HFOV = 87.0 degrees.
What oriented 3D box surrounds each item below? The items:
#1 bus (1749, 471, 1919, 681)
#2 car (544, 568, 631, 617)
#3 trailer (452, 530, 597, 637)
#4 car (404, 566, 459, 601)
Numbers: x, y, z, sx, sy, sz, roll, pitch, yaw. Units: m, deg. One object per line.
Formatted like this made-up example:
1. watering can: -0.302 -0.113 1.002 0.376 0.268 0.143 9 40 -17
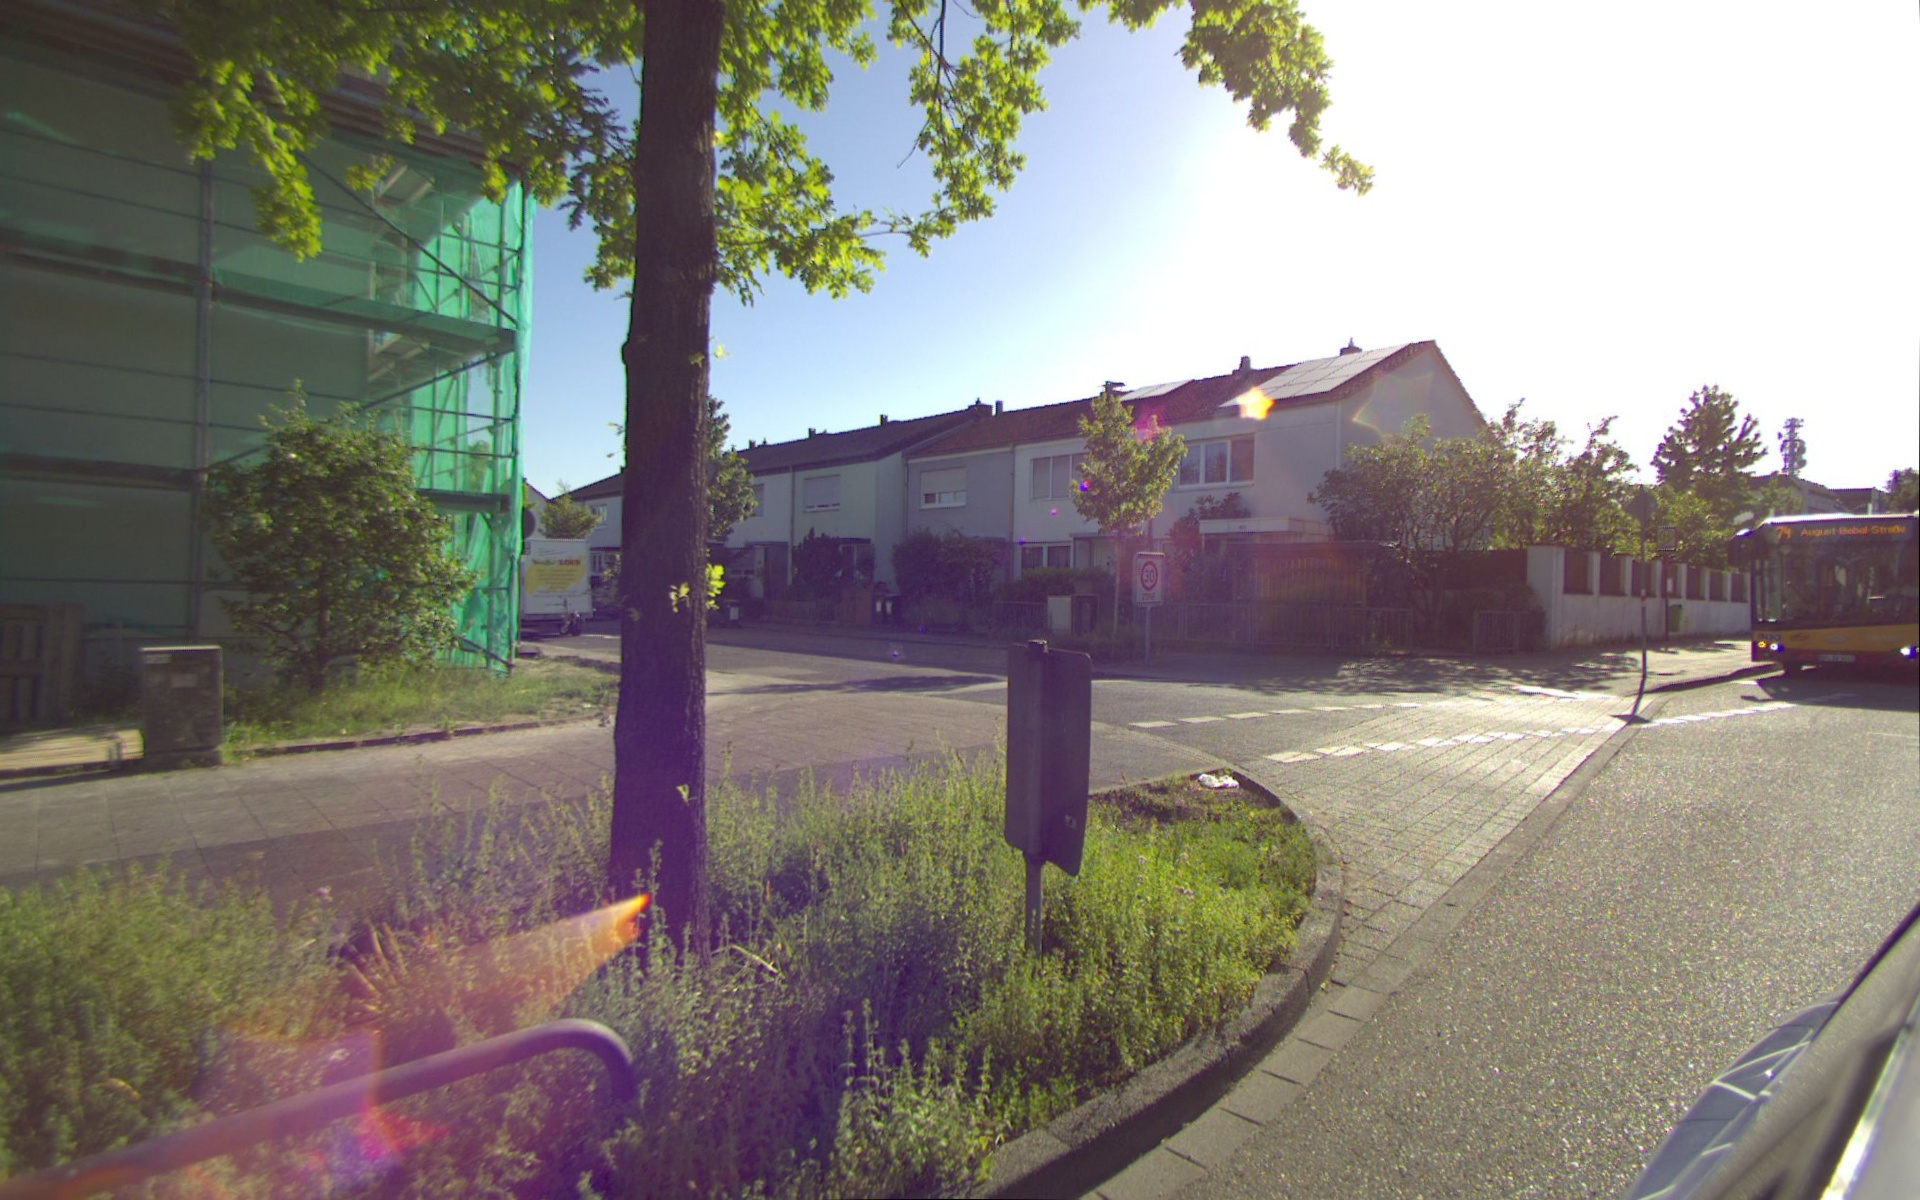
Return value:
1. bus: 20.067 -0.552 21.500 12.180 3.500 2.763 -1 3 -40
2. car: -14.421 -0.248 39.065 1.856 1.799 3.915 2 -1 -42
3. trailer: -11.623 -0.470 26.844 2.050 2.565 4.961 0 1 -42
4. car: -30.357 -0.921 58.104 1.856 1.906 3.915 2 -1 -42
